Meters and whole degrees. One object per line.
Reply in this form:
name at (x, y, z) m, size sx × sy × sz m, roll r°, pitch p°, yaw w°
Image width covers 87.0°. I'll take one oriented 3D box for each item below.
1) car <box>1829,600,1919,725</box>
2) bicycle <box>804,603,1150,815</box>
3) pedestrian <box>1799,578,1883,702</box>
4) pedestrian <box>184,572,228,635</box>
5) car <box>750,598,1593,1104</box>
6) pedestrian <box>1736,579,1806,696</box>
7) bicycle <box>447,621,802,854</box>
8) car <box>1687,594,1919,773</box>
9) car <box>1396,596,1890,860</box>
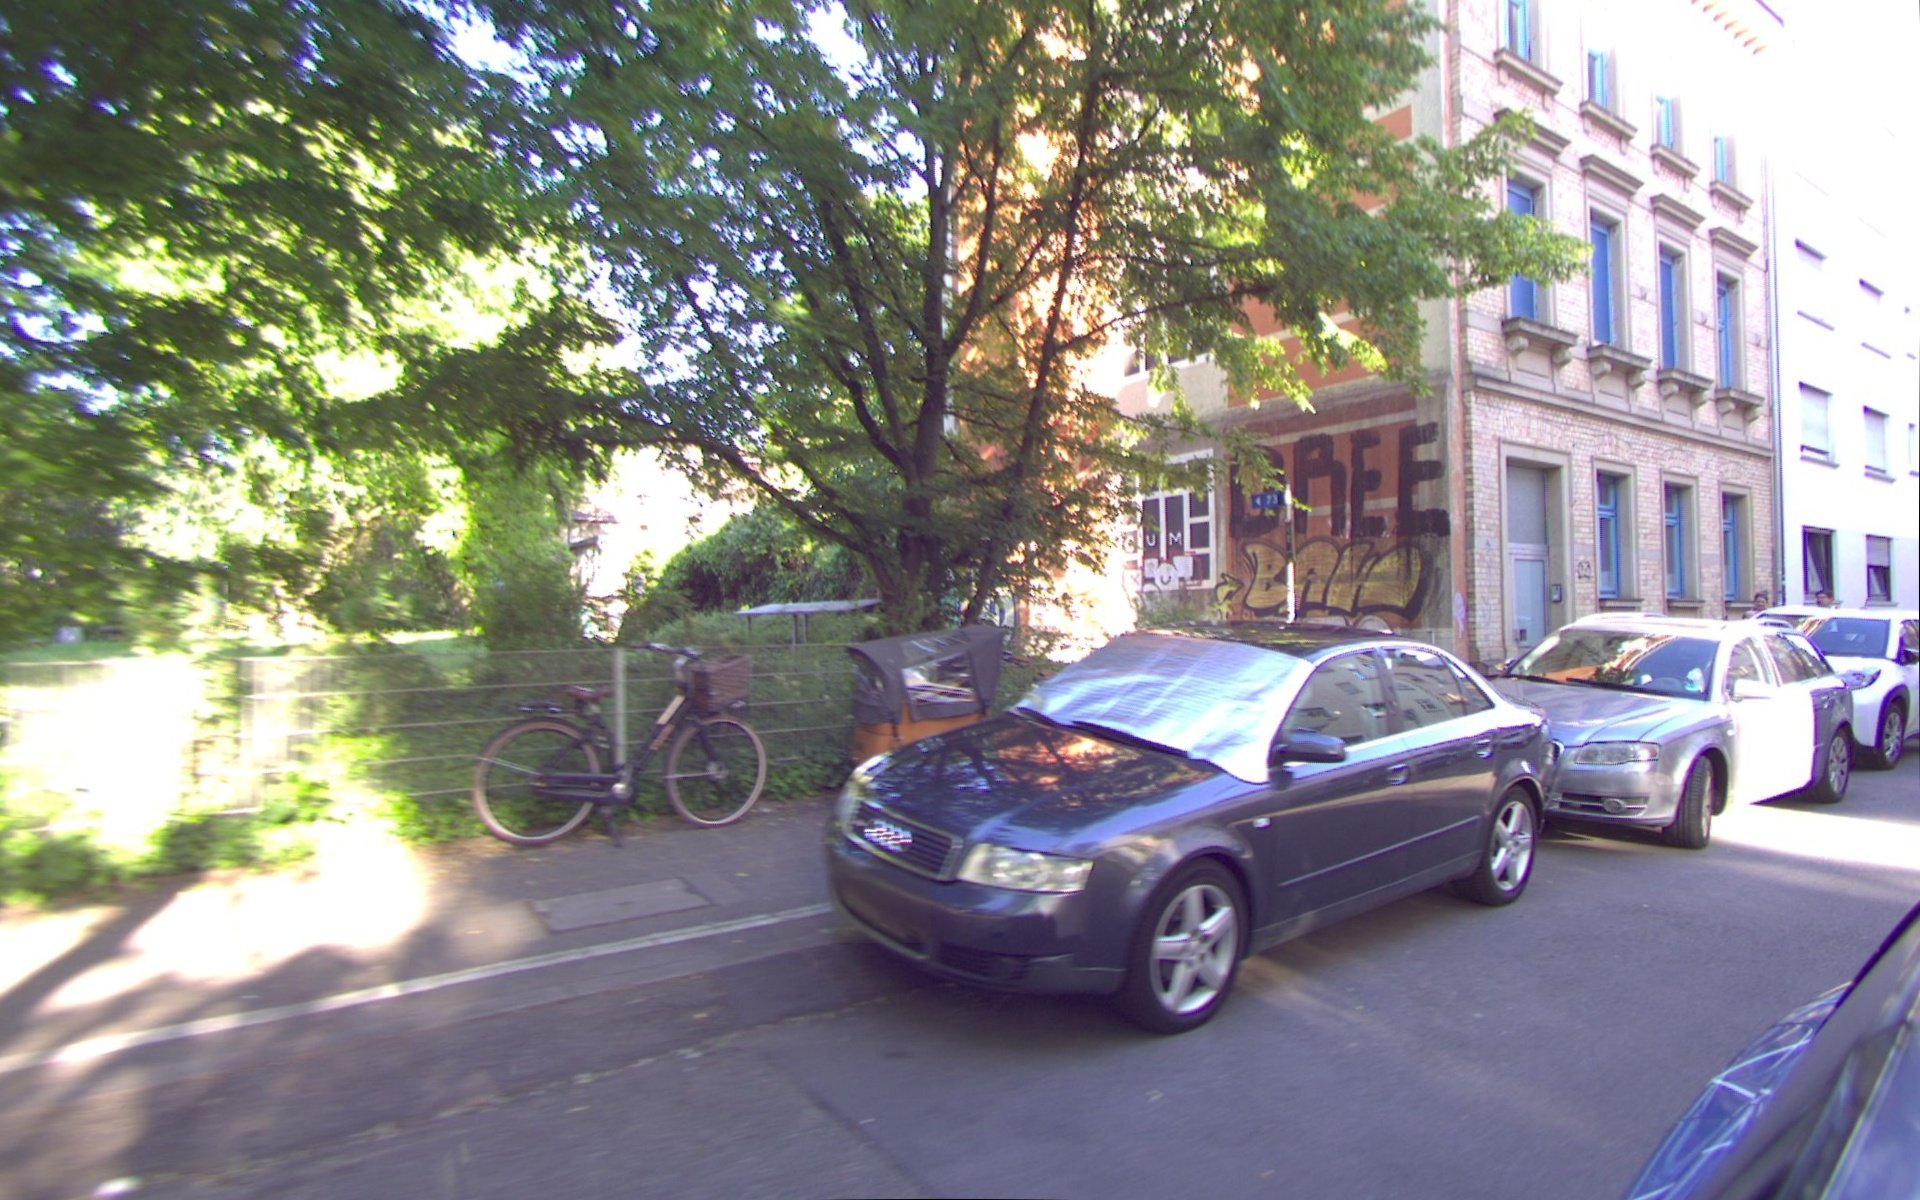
car at (13.038, 0.754, 13.324) m, size 3.928 × 1.469 × 1.598 m, roll 0°, pitch 1°, yaw -37°
bicycle at (0.138, 0.707, 7.667) m, size 2.281 × 1.318 × 1.296 m, roll 0°, pitch 1°, yaw -32°
pedestrian at (12.925, 0.560, 14.846) m, size 0.738 × 1.730 × 0.713 m, roll 0°, pitch 2°, yaw -35°
pedestrian at (-24.540, 0.105, 32.952) m, size 0.898 × 2.039 × 0.746 m, roll 0°, pitch 0°, yaw 13°
car at (1.311, 0.764, 5.089) m, size 4.331 × 1.512 × 1.726 m, roll 0°, pitch 1°, yaw -37°
pedestrian at (12.383, 0.552, 15.452) m, size 0.693 × 1.730 × 0.599 m, roll 0°, pitch 2°, yaw -35°
bicycle at (-2.051, 0.748, 6.276) m, size 1.943 × 1.216 × 0.850 m, roll 0°, pitch -1°, yaw -33°
car at (9.470, 0.747, 10.832) m, size 3.692 × 1.605 × 1.599 m, roll 0°, pitch 0°, yaw -35°
car at (5.362, 0.747, 7.766) m, size 4.270 × 1.513 × 1.664 m, roll 0°, pitch -1°, yaw -34°
